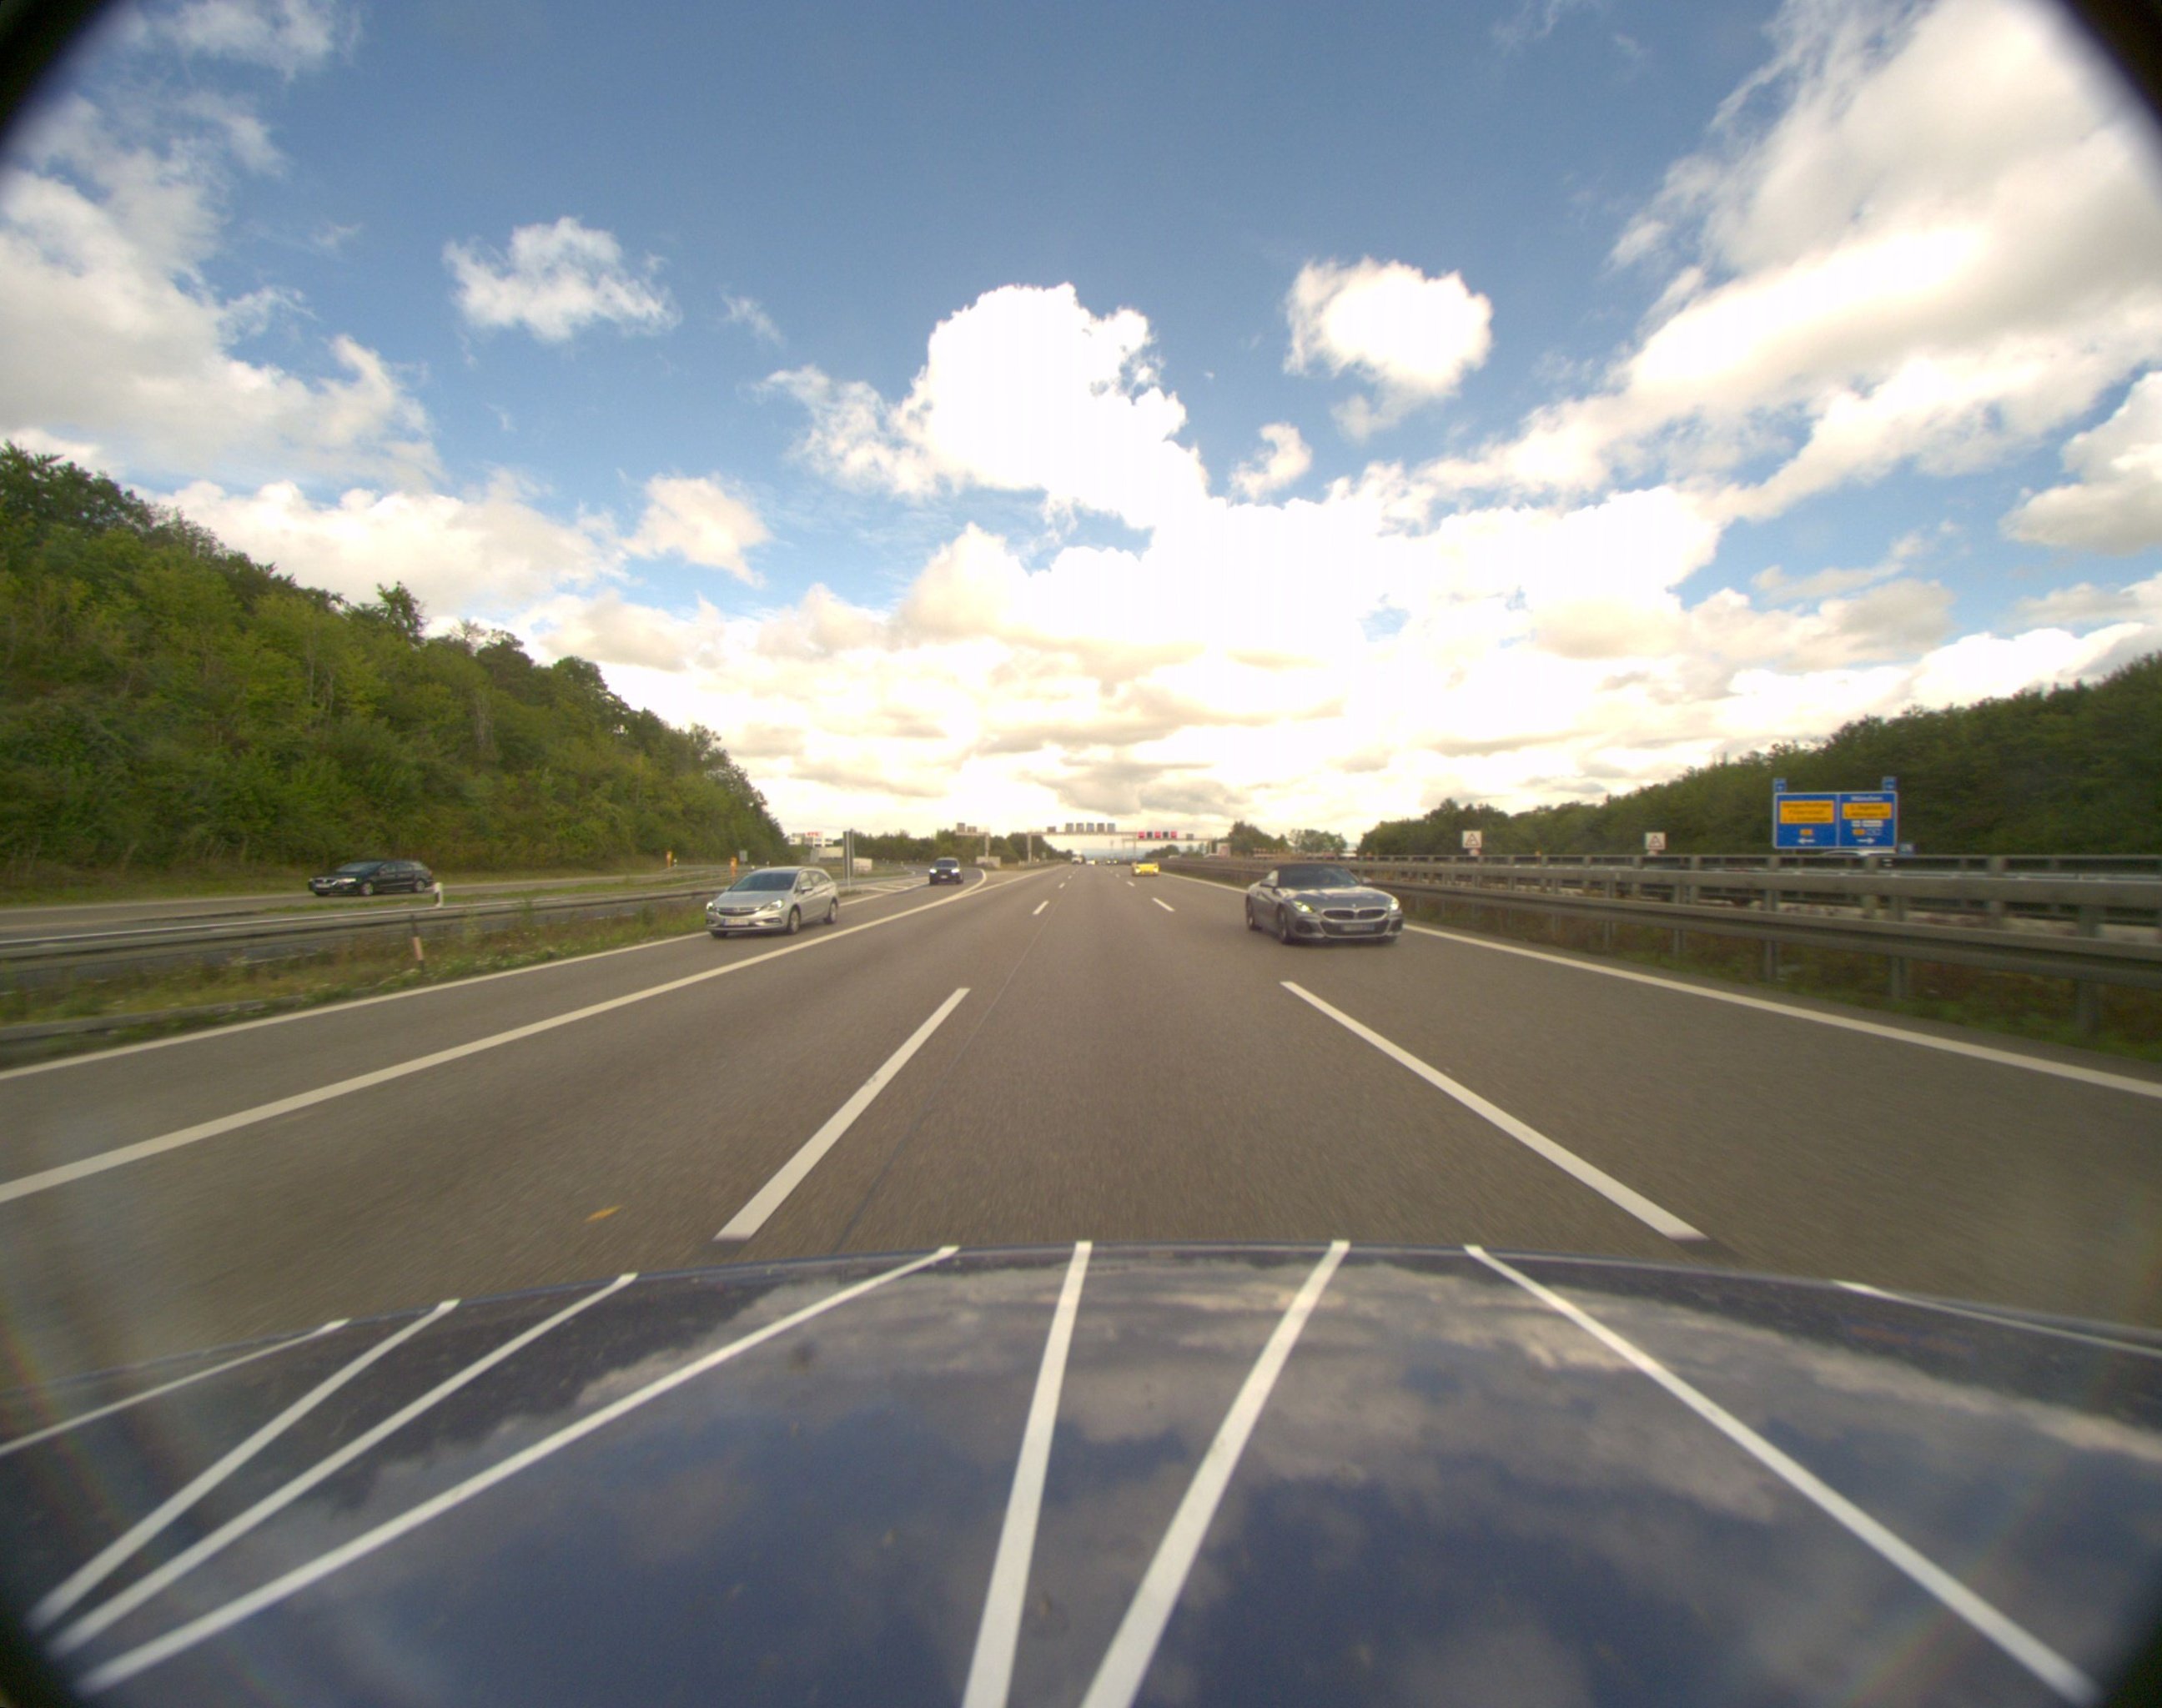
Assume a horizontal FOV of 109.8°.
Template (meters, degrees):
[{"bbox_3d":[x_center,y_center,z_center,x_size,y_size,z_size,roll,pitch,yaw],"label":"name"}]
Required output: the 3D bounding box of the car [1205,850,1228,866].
[{"bbox_3d":[13.940,0.365,78.409,1.679,1.568,4.173,0,0,0],"label":"car"}]

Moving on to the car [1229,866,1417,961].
[{"bbox_3d":[4.149,0.943,13.958,1.878,1.295,4.942,-1,0,0],"label":"car"}]

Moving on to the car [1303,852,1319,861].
[{"bbox_3d":[45.935,0.459,151.515,1.815,1.626,5.009,-1,0,2],"label":"car"}]

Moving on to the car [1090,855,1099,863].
[{"bbox_3d":[2.568,0.957,149.215,1.737,1.608,4.000,-1,0,1],"label":"car"}]

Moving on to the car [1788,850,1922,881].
[{"bbox_3d":[34.208,0.470,33.768,1.647,1.307,4.247,0,0,0],"label":"car"}]

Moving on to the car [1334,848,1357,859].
[{"bbox_3d":[40.301,-0.122,115.762,1.775,1.568,5.011,-1,0,0],"label":"car"}]

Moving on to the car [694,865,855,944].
[{"bbox_3d":[-6.900,1.064,17.705,1.687,1.476,4.616,-1,0,2],"label":"car"}]

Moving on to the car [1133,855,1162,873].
[{"bbox_3d":[4.976,0.736,57.400,1.811,1.307,4.247,1,0,0],"label":"car"}]

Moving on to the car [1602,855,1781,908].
[{"bbox_3d":[17.101,0.713,21.582,1.647,1.307,4.247,1,0,0],"label":"car"}]

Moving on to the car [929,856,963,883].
[{"bbox_3d":[-8.859,0.992,50.351,1.877,1.626,4.856,-1,0,-7],"label":"car"}]

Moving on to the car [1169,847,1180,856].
[{"bbox_3d":[18.610,-0.516,151.247,1.815,1.626,5.008,-1,0,2],"label":"car"}]

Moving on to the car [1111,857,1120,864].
[{"bbox_3d":[6.897,1.322,152.099,1.593,1.307,3.978,1,0,0],"label":"car"}]

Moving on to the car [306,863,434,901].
[{"bbox_3d":[-29.547,1.103,31.780,1.717,1.407,4.166,-1,0,-6],"label":"car"}]

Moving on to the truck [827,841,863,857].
[{"bbox_3d":[-61.290,-1.151,196.997,2.976,3.775,13.424,-2,0,-44],"label":"truck"}]
